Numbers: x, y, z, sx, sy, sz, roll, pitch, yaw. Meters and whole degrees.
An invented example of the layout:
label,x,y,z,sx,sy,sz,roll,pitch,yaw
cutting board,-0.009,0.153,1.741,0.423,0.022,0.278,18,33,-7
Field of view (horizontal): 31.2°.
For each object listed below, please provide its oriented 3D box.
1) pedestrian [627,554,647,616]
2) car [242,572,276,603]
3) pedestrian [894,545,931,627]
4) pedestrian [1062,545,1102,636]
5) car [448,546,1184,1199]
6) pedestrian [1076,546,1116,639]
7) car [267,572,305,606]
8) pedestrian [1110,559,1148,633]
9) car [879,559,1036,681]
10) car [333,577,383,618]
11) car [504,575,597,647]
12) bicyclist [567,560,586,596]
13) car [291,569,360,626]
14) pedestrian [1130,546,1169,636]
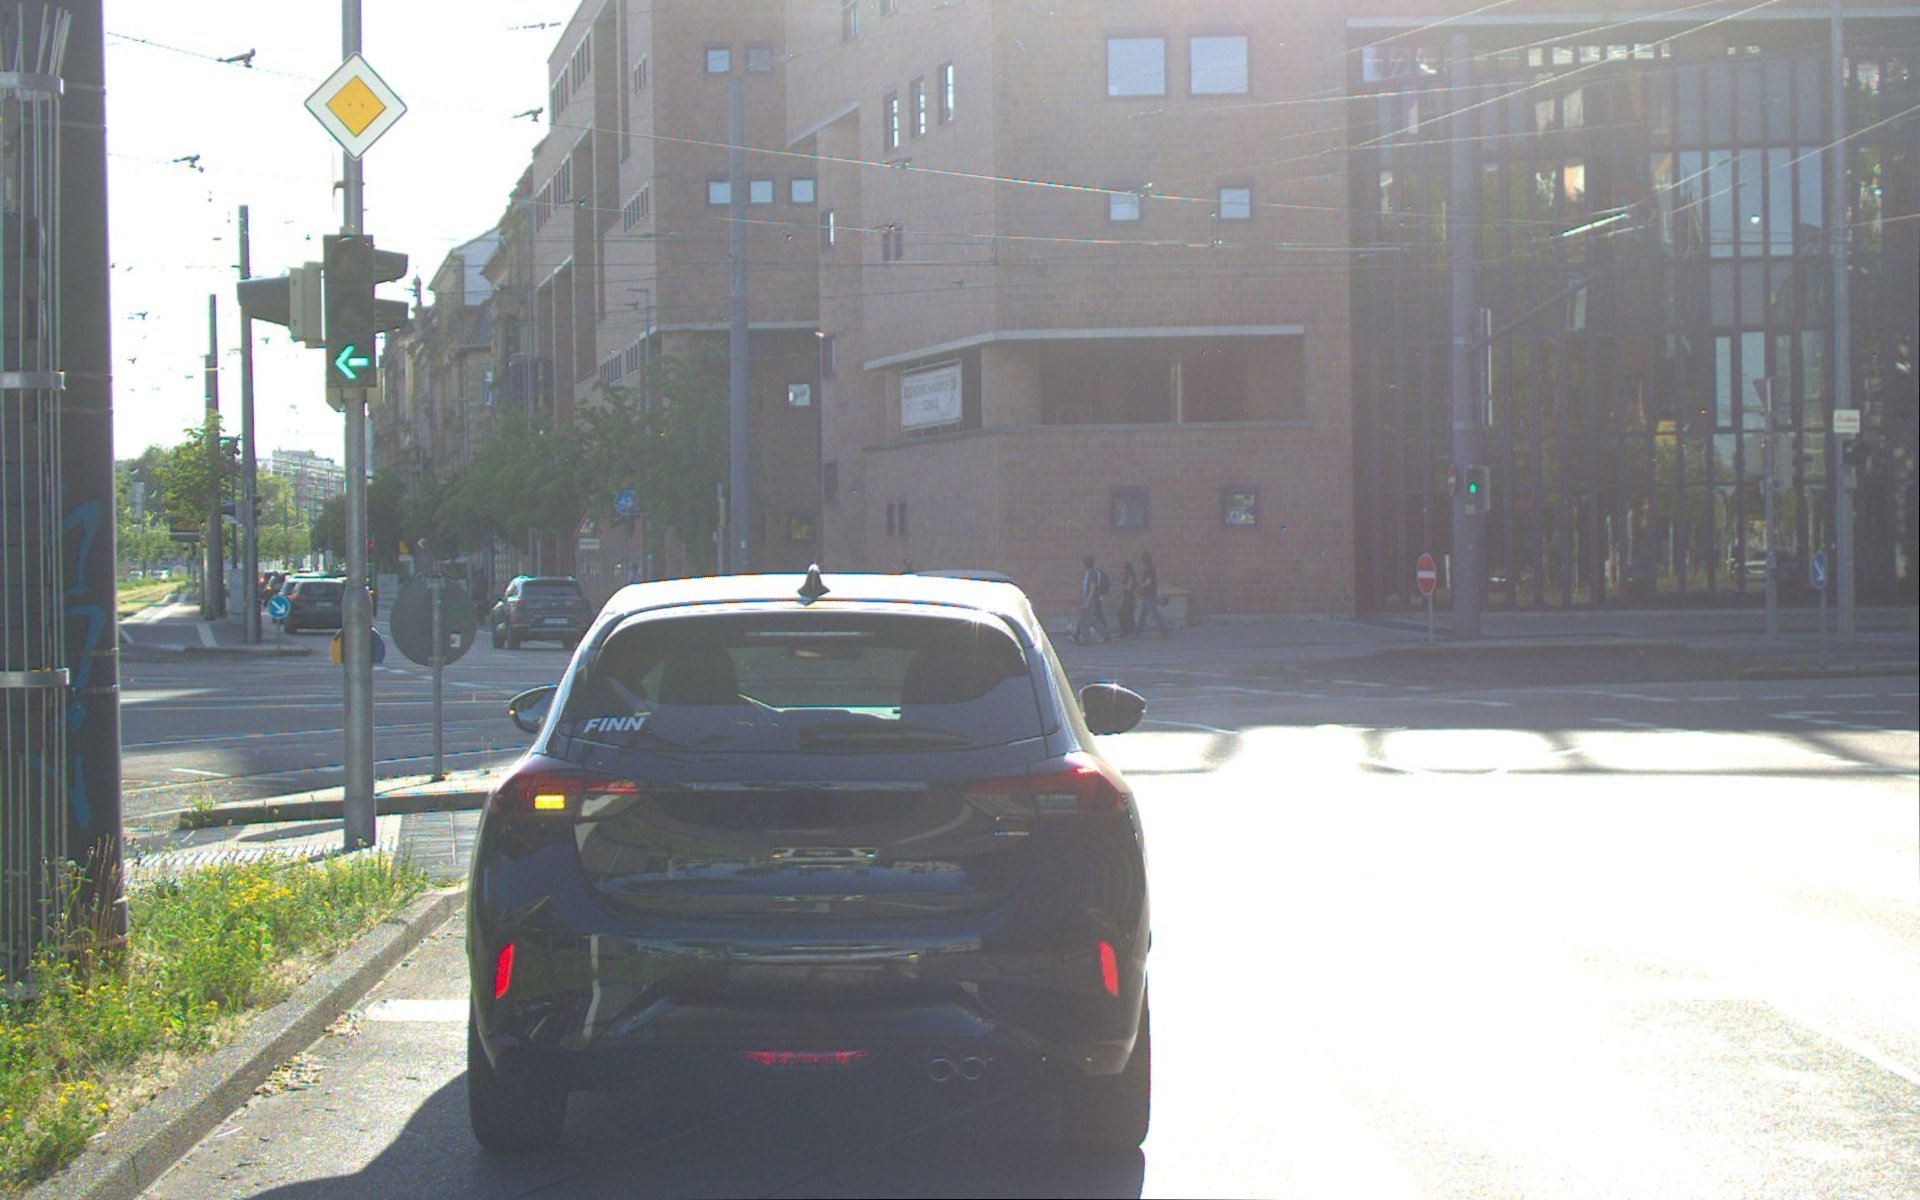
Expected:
label,x,y,z,sx,sy,sz,roll,pitch,yaw
pedestrian,-9.468,-0.446,100.798,0.547,1.780,0.573,-1,3,-8
car,-34.297,-0.640,168.126,1.514,1.448,3.585,-2,1,-13
pedestrian,-1.060,-0.310,76.387,0.640,1.780,0.688,-2,1,-14
pedestrian,2.406,-0.192,67.921,0.571,1.780,0.549,-2,1,-19
car,-0.351,0.605,9.718,1.672,1.496,3.691,1,1,-1
pedestrian,2.663,-0.148,67.155,0.571,1.780,0.549,-2,1,-19
car,-30.154,-0.502,153.829,1.514,1.448,3.585,-2,1,-13
pedestrian,3.433,-0.081,69.890,0.547,1.472,0.573,-2,2,-29
car,-0.066,0.220,43.515,1.559,1.451,3.432,-1,1,-7
car,-22.635,-0.090,129.227,1.720,1.448,3.699,-2,1,-11
car,-8.813,0.212,73.850,1.670,1.448,3.699,-2,1,-11
bicyclist,-14.304,-0.829,128.115,0.645,1.335,0.653,-1,1,-10
car,-17.063,-0.077,92.344,1.720,1.448,3.699,-2,1,-11
pedestrian,3.787,-0.185,68.664,0.571,1.780,0.549,-2,1,-19
